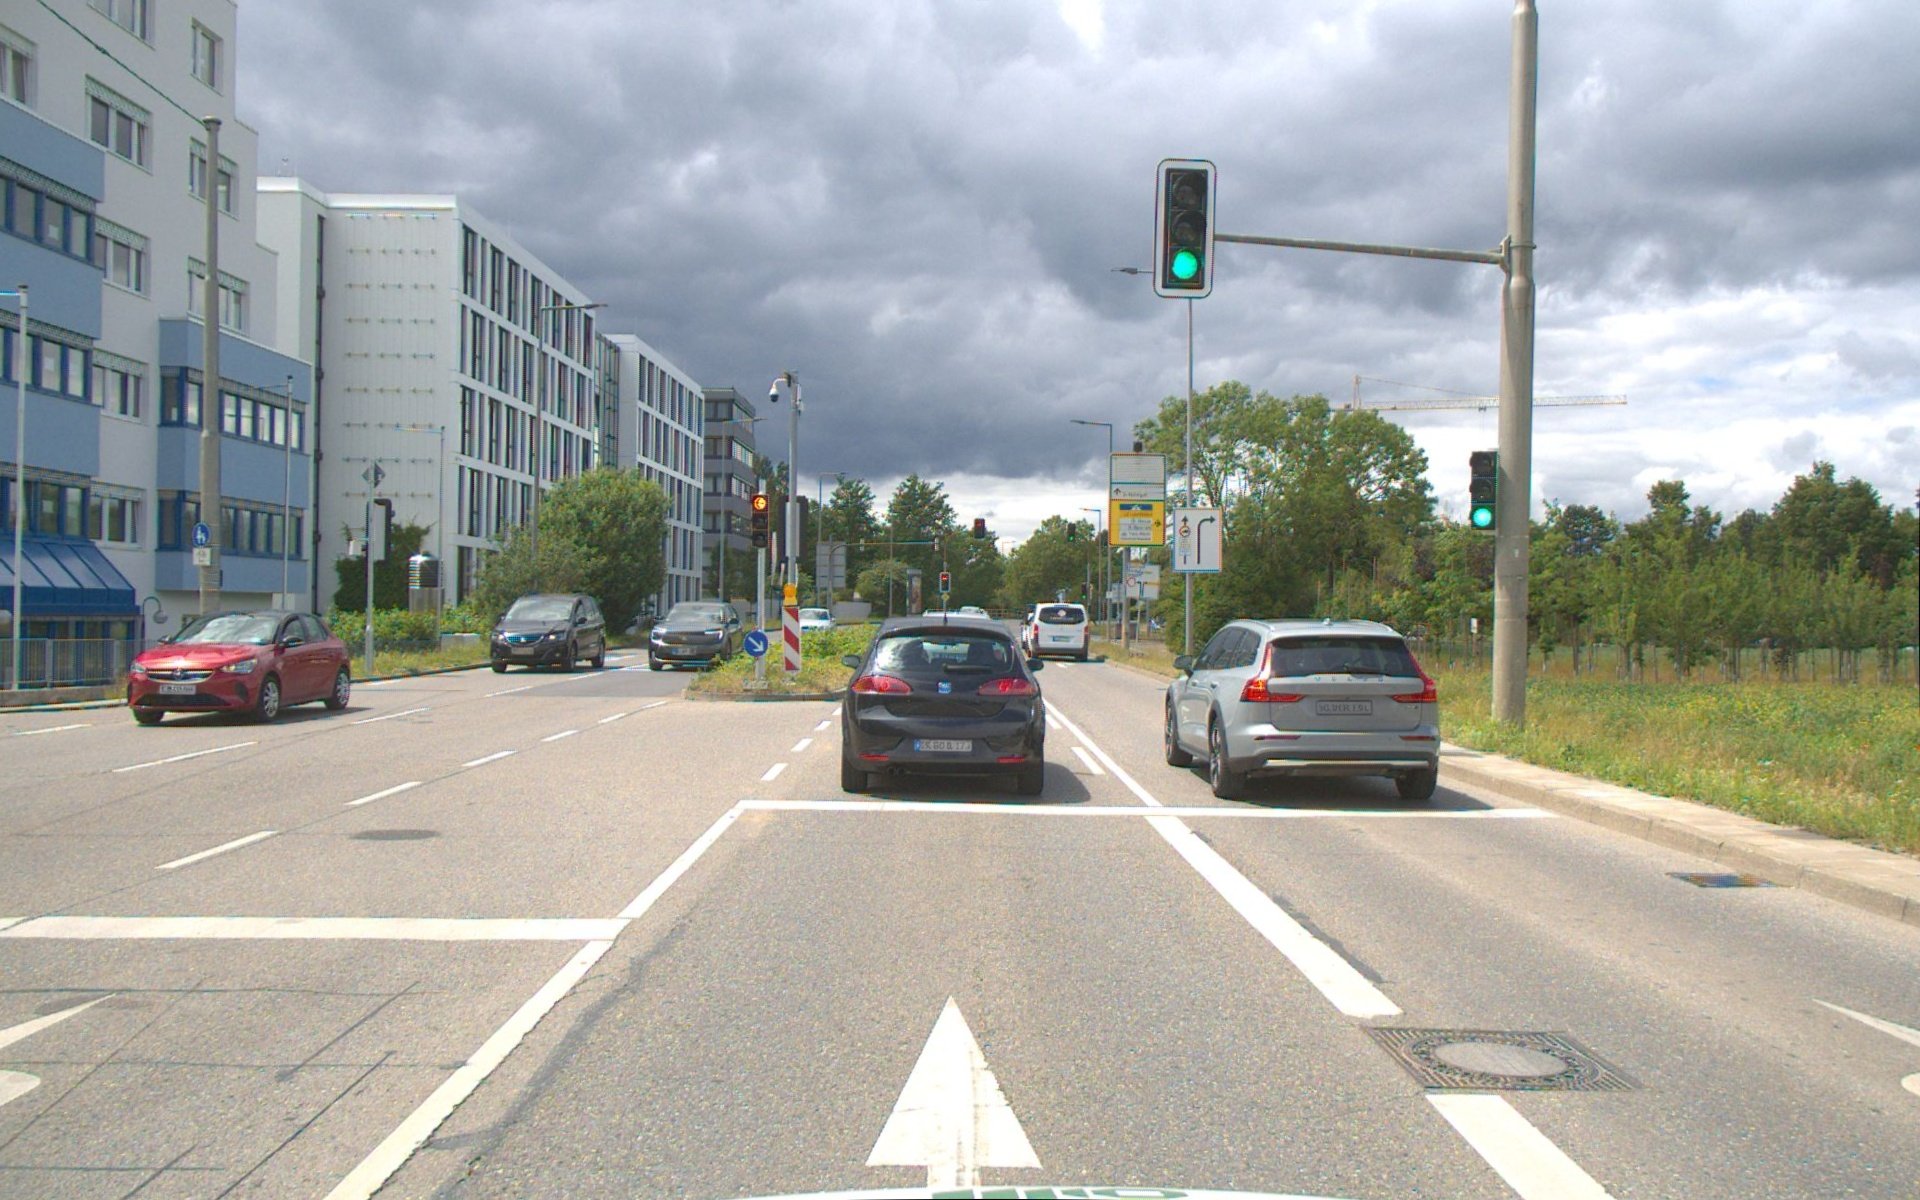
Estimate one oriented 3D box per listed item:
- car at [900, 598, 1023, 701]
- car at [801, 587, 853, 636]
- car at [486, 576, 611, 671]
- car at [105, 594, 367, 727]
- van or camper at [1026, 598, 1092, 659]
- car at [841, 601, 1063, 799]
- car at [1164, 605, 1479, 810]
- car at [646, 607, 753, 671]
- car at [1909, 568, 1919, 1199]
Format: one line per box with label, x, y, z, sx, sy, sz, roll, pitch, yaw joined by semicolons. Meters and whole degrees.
car;-0.027;0.829;28.647;1.943;1.618;4.224;1;-1;-2
car;-5.634;0.500;70.434;1.953;2.049;3.999;0;-1;-1
car;-9.358;0.545;37.984;1.954;2.049;4.478;0;-1;-3
car;-9.686;0.782;22.478;1.739;1.640;4.000;0;-1;1
van or camper;3.259;0.938;54.962;1.861;1.959;3.998;0;-1;-2
car;0.027;0.815;15.026;1.711;1.510;4.001;2;-1;3
car;3.067;0.868;14.988;1.918;1.552;4.340;-1;-1;1
car;-6.098;0.901;39.186;1.953;1.434;3.999;0;-1;-1
car;3.310;0.769;1.746;1.801;1.565;4.805;0;2;-1
